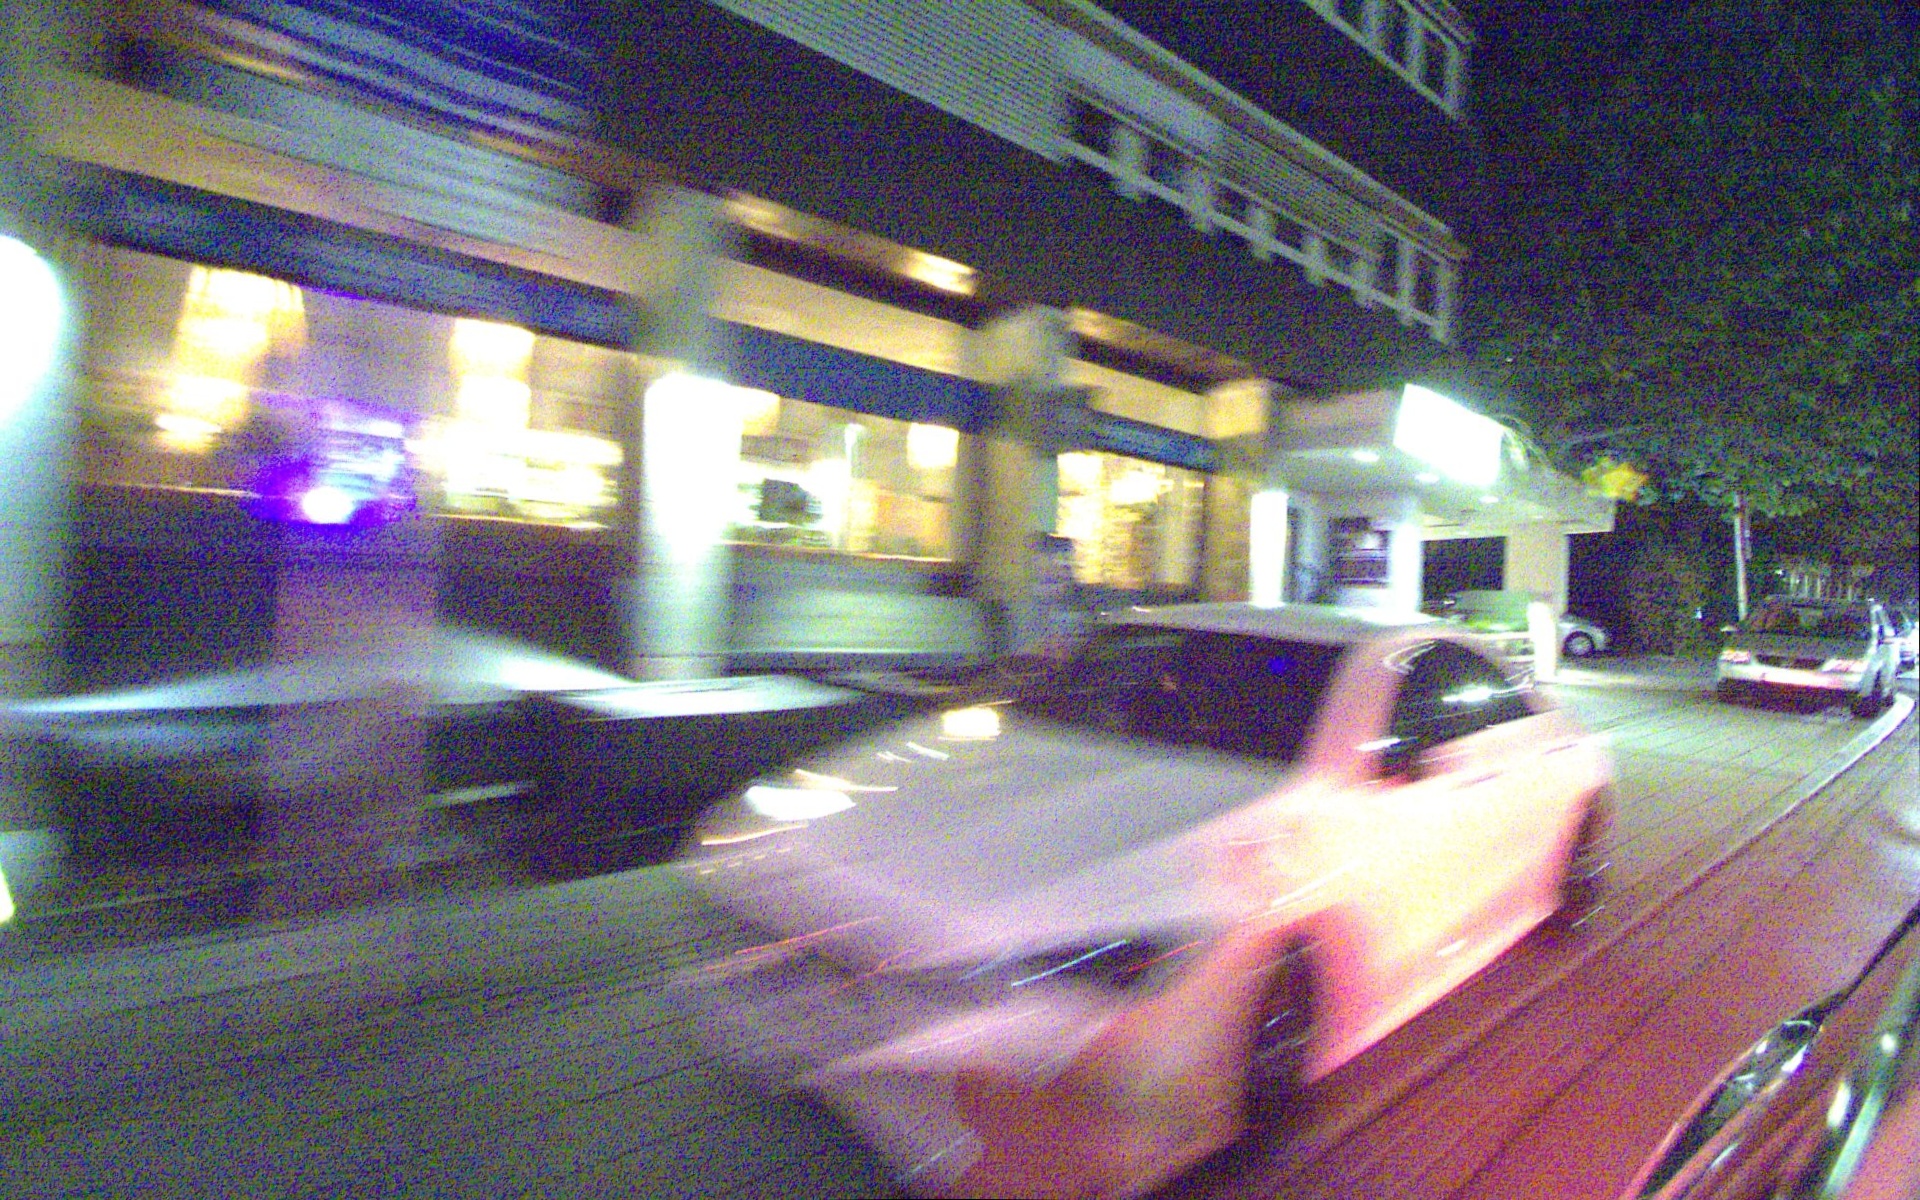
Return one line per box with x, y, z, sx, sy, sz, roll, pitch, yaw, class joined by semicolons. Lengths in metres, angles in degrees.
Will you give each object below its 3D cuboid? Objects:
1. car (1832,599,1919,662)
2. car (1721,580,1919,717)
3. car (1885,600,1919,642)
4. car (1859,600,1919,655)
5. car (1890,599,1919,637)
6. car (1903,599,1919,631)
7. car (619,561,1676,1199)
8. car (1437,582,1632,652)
23.376;0.718;25.585;1.780;1.456;4.221;0;0;44;car
12.818;0.596;14.941;4.306;1.661;1.789;0;3;-44;car
35.133;0.731;37.066;1.762;1.434;4.370;0;0;44;car
27.069;0.742;28.836;4.532;1.465;1.679;0;0;-42;car
38.478;0.701;40.557;1.639;1.485;3.715;-1;0;45;car
45.588;0.707;47.680;1.676;1.465;3.938;1;1;43;car
1.193;0.648;4.101;4.516;1.459;1.860;0;3;-43;car
14.655;0.399;26.037;4.012;1.605;1.699;2;1;16;car
